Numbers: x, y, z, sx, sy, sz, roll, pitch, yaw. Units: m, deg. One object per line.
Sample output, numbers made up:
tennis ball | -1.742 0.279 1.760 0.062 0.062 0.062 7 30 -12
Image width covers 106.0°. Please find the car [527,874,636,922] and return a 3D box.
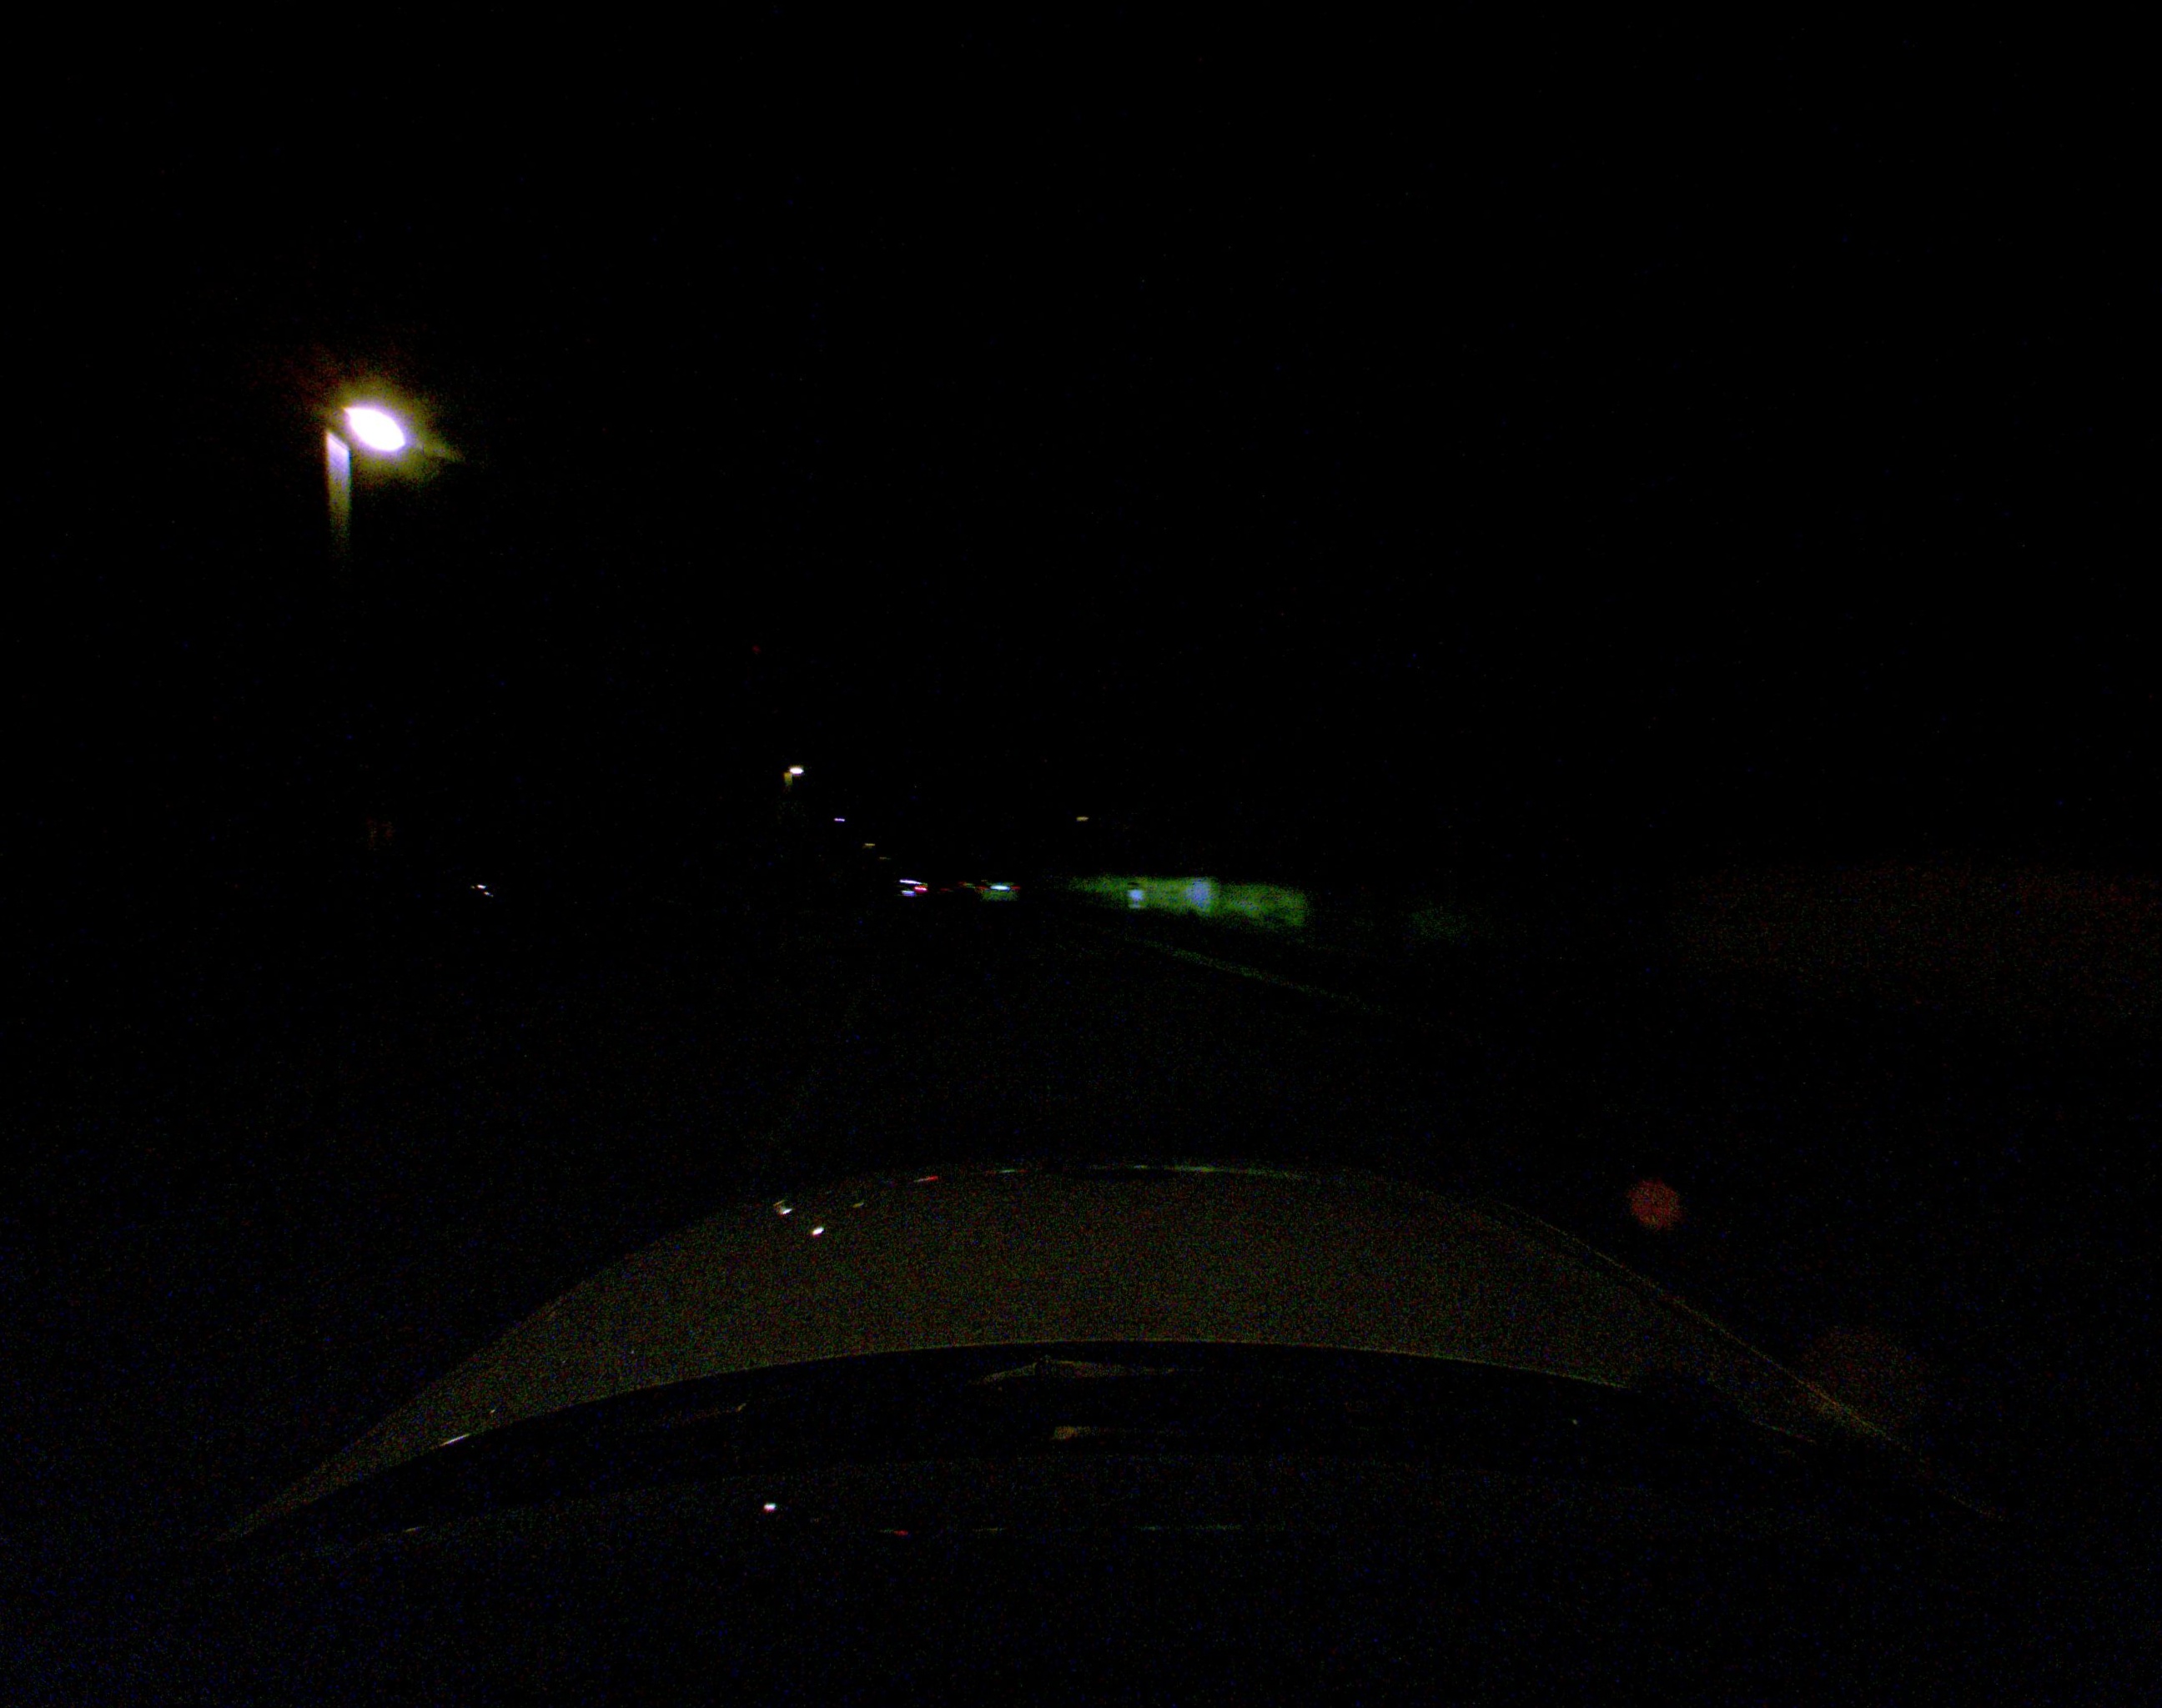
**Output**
car | -16.800 1.433 27.606 1.850 1.427 3.984 -1 -1 -11

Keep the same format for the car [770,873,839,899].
car | -19.719 2.294 58.245 4.418 1.613 2.057 -2 -3 -11

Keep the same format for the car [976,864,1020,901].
car | -3.955 1.312 38.224 1.755 1.594 4.711 -1 -1 -10

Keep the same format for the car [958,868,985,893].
car | -8.006 1.928 59.532 1.719 1.761 4.740 -1 -2 -10

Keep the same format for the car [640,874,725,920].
car | -13.841 1.446 28.511 1.979 1.439 3.977 -1 -1 -16

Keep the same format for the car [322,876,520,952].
car | -15.269 1.315 19.156 1.726 1.459 4.109 -2 0 -9

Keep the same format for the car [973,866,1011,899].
car | -4.705 1.460 42.652 1.610 1.461 3.702 -4 1 -11

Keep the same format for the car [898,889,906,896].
car | -40.726 8.785 185.331 1.756 1.540 3.711 -2 -3 -15

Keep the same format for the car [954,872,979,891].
car | -9.132 2.186 64.878 1.745 1.471 4.239 0 -2 -11

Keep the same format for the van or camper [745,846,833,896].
van or camper | -19.514 1.115 54.525 5.419 3.112 2.116 0 -5 -21

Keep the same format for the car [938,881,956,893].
car | -16.351 4.036 99.130 1.766 1.476 4.253 0 -3 -15

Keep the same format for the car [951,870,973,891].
car | -10.308 2.326 70.354 1.832 1.664 4.603 -2 -3 -9
